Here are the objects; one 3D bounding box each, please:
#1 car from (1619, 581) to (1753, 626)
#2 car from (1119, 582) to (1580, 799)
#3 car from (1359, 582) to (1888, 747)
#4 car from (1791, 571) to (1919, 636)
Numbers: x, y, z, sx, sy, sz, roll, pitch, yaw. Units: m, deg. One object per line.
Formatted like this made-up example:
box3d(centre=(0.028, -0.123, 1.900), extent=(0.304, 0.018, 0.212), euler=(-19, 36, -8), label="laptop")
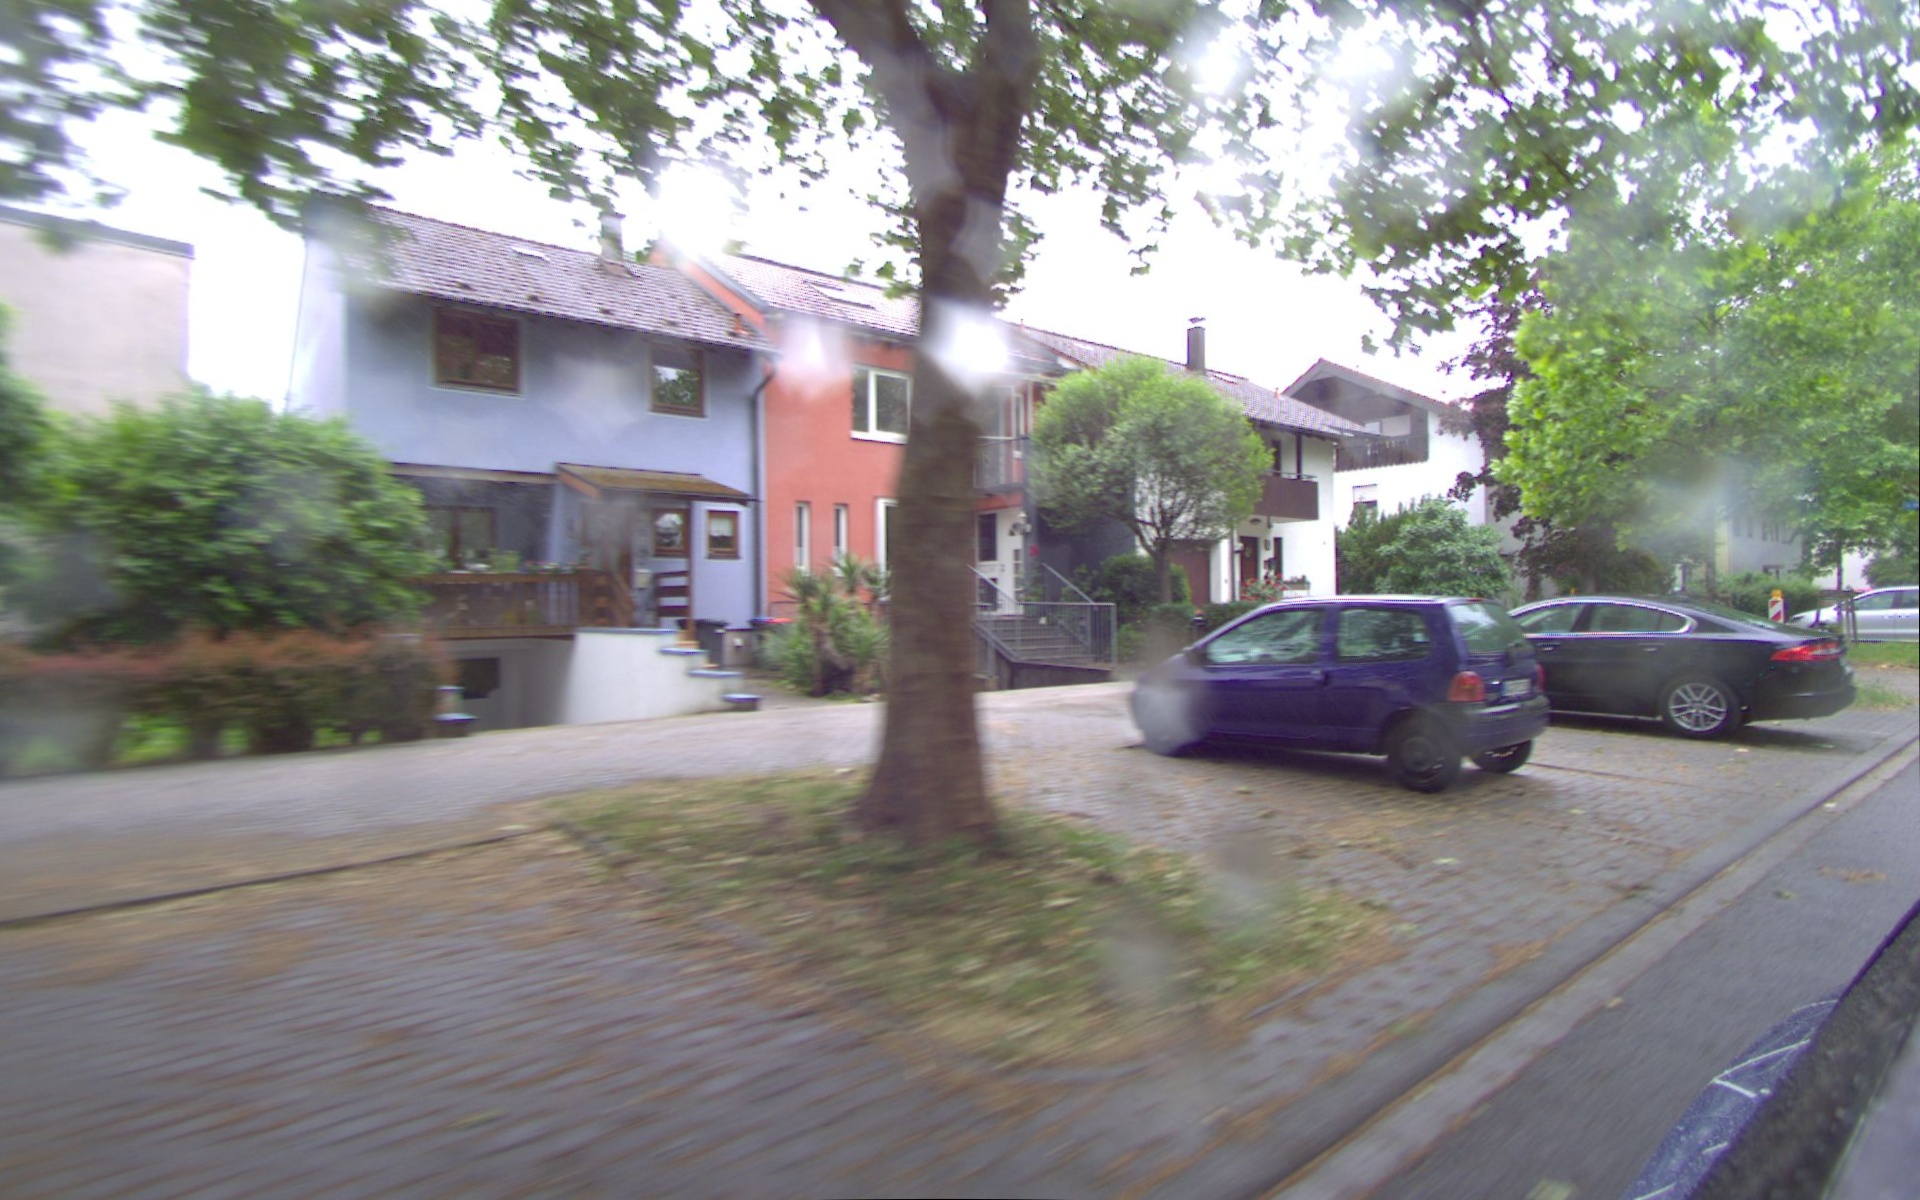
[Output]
box3d(centre=(28.129, 0.115, 39.300), extent=(1.808, 1.633, 3.855), euler=(0, 0, -37), label="car")
box3d(centre=(3.170, 0.609, 8.699), extent=(1.590, 1.482, 3.362), euler=(0, 0, -40), label="car")
box3d(centre=(7.301, 0.553, 11.567), extent=(1.905, 1.491, 4.771), euler=(0, 1, -43), label="car")
box3d(centre=(25.383, 0.074, 27.008), extent=(1.941, 1.682, 4.697), euler=(0, 0, -40), label="car")
